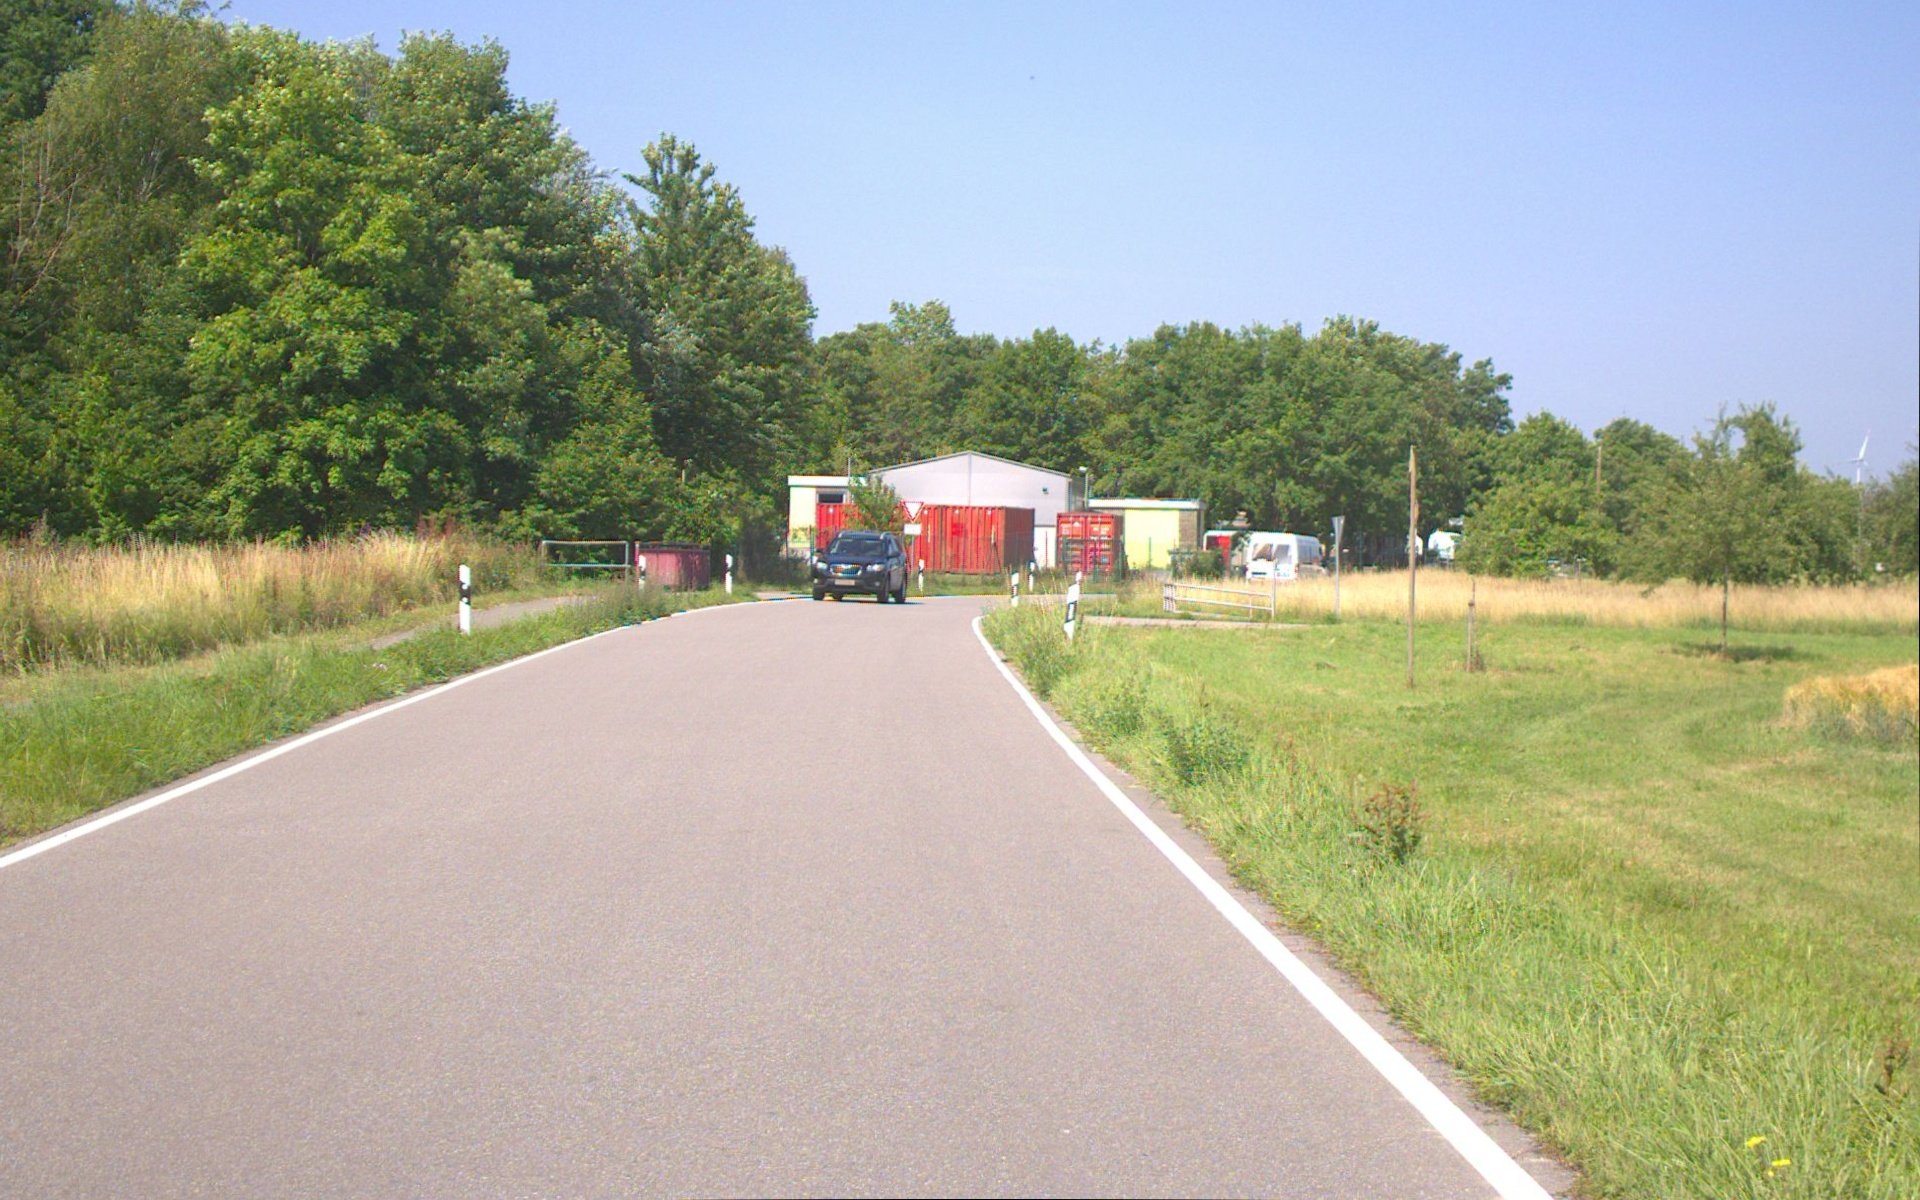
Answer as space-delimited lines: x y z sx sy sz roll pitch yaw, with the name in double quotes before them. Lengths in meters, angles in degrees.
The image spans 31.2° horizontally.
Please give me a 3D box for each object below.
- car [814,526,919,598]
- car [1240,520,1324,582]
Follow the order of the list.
"car" -2.328 -0.963 86.546 1.866 1.747 4.295 1 1 9
"car" 12.268 -1.849 130.671 1.995 2.258 4.721 2 1 20
